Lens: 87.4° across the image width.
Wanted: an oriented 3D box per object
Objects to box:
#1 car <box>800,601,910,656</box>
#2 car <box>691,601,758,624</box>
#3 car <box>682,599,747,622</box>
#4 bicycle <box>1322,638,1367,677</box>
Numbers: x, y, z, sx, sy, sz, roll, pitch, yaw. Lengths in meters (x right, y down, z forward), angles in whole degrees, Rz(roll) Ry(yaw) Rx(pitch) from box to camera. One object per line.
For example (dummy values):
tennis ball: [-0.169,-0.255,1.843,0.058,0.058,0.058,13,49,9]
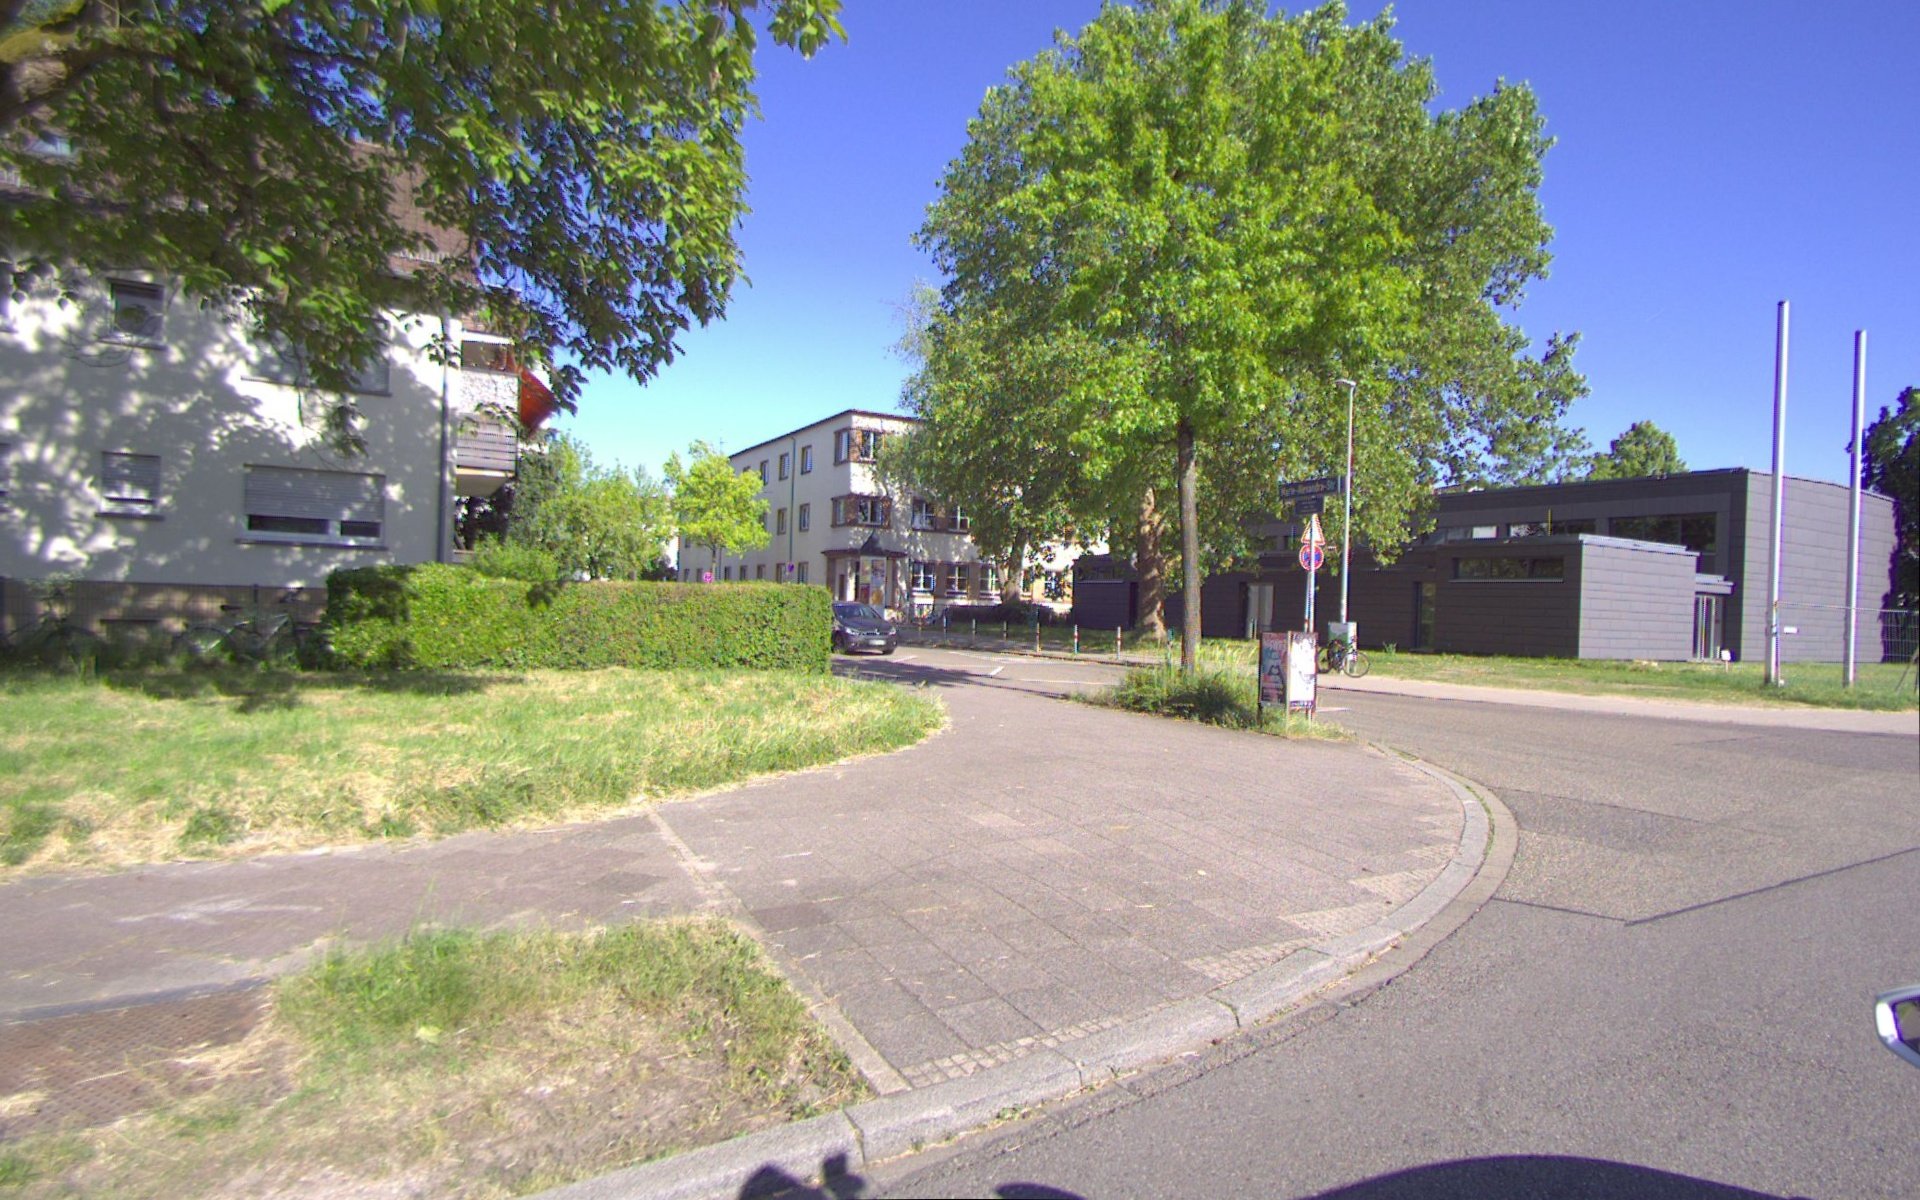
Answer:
car: [-3.238,0.819,30.466,1.935,1.568,3.697,0,-1,-32]
car: [-16.768,0.901,71.432,4.397,1.568,1.945,1,1,-24]
car: [-17.988,0.751,73.561,4.397,1.568,1.945,1,1,-24]
bicycle: [9.350,1.398,24.454,0.999,0.899,0.440,0,0,16]
